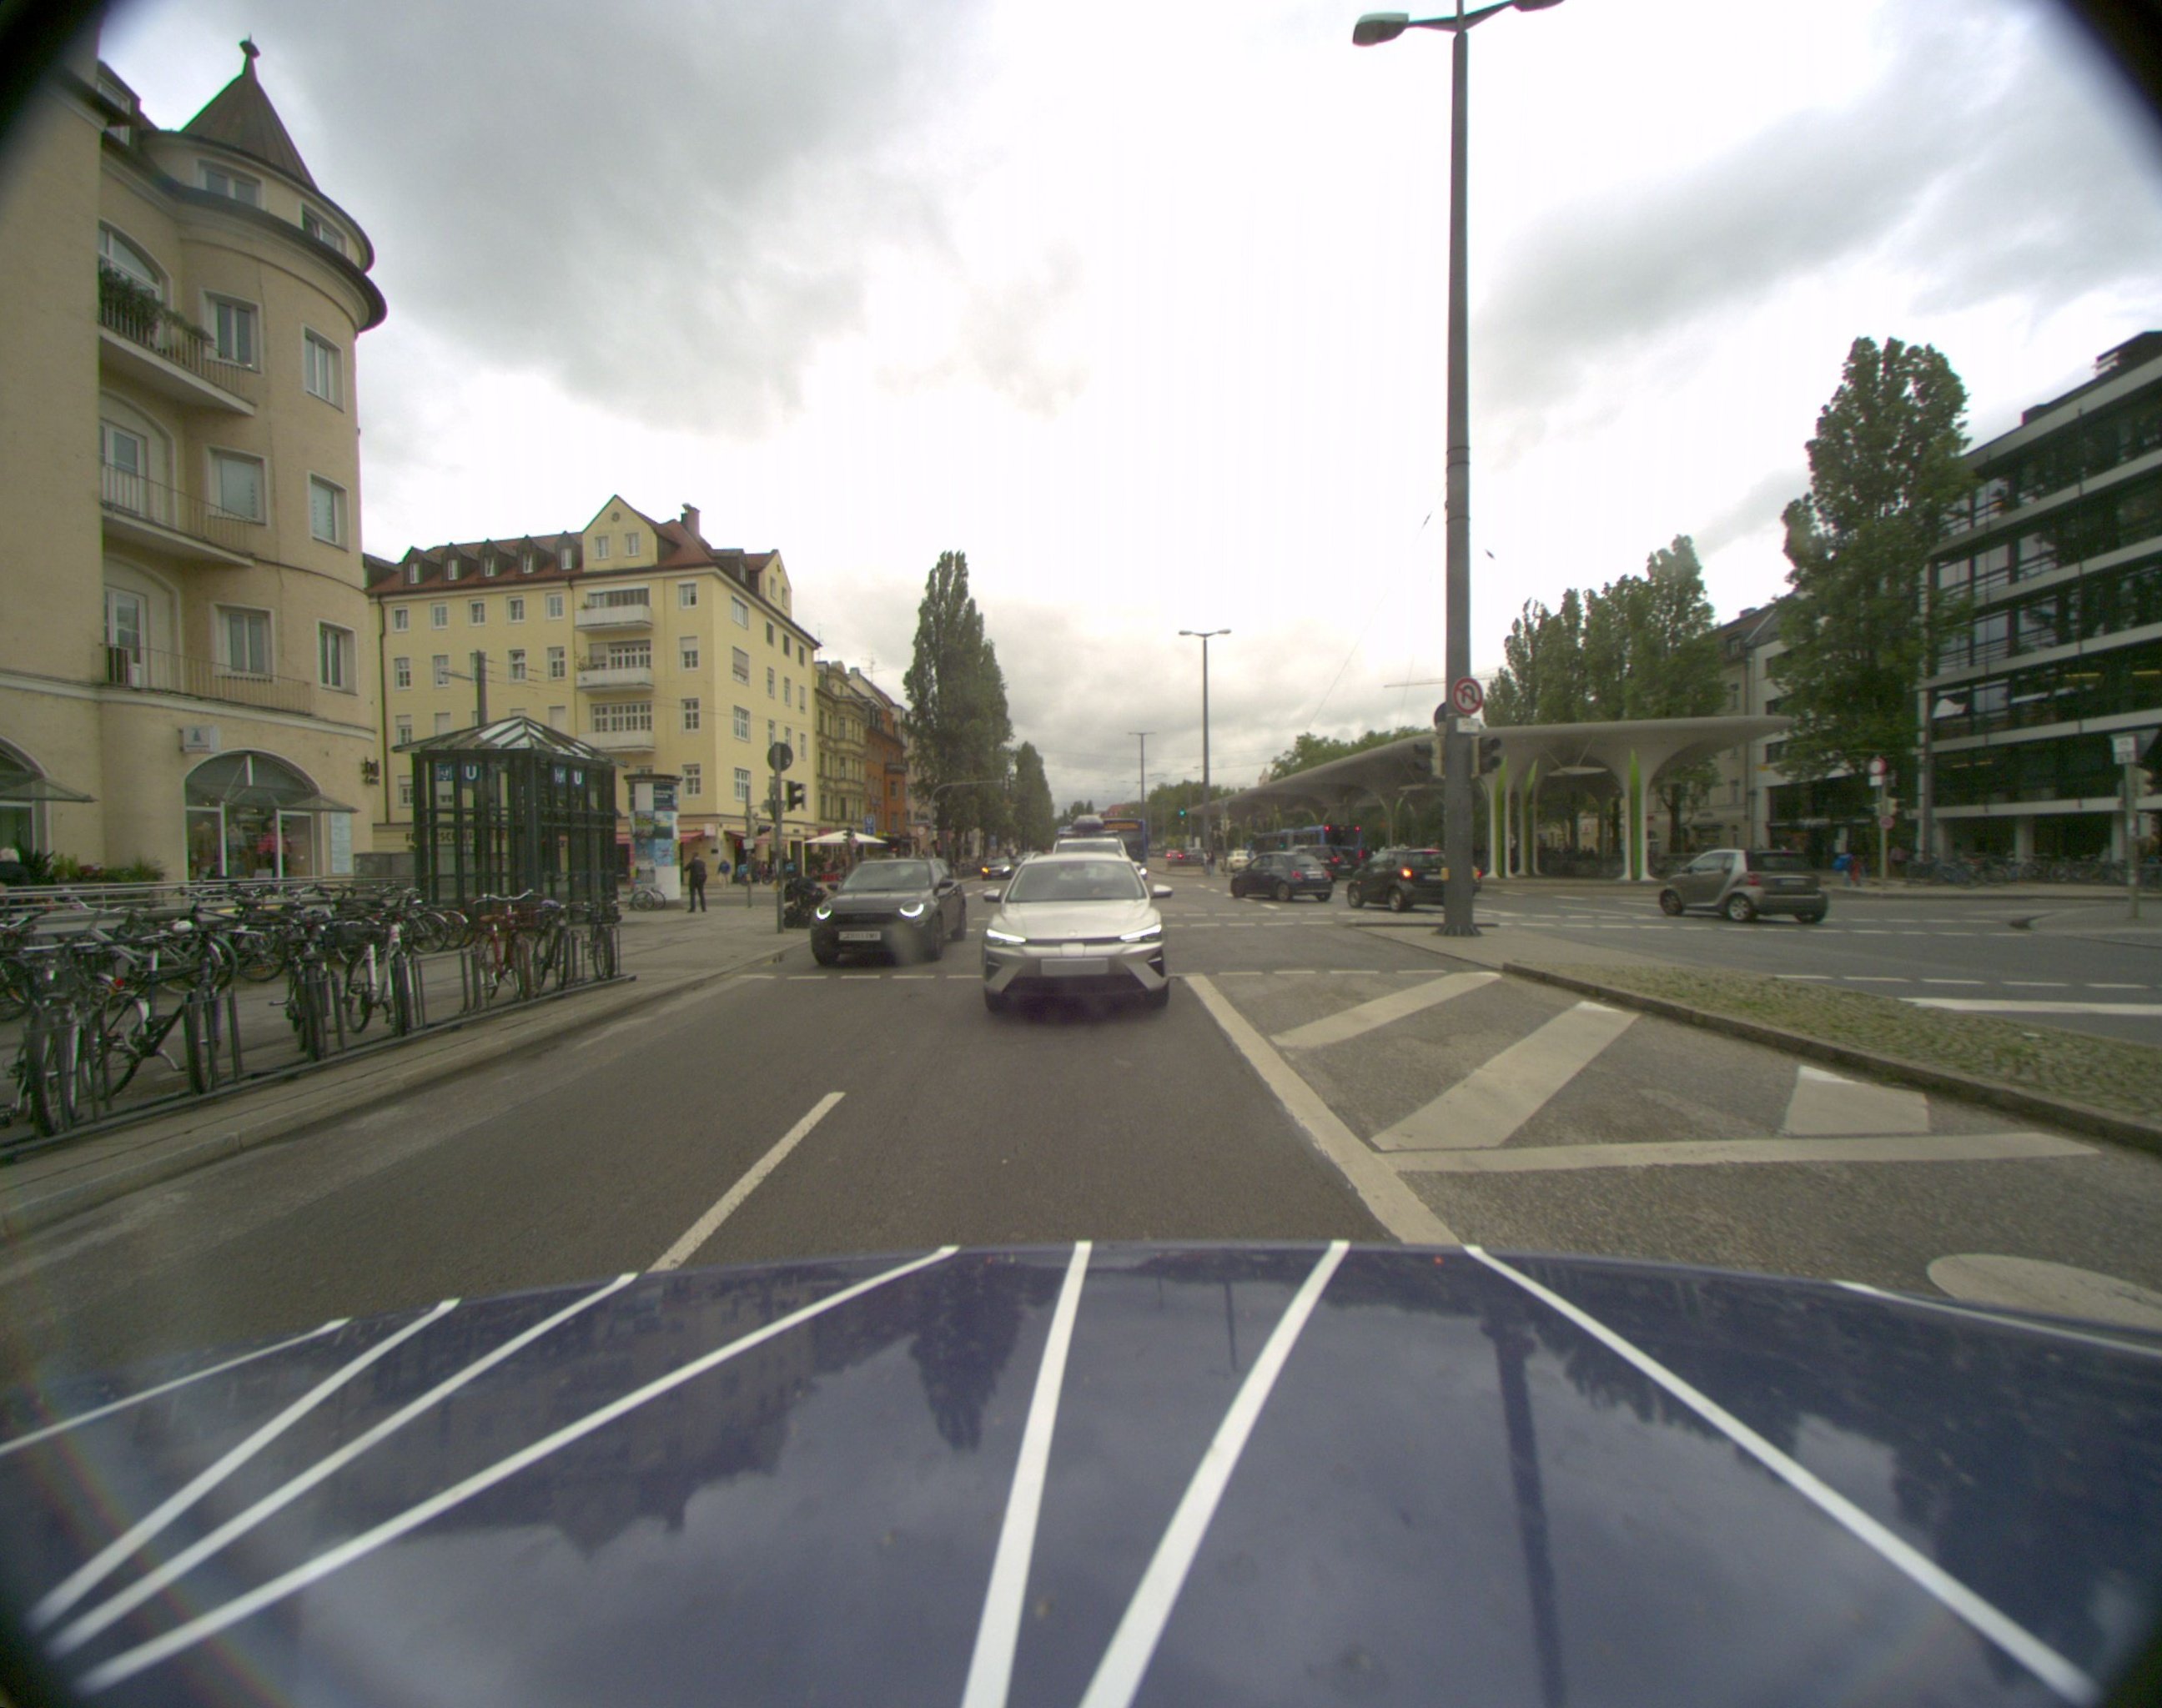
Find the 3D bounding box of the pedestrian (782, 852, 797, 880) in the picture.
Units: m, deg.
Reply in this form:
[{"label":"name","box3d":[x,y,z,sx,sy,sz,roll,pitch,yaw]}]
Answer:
[{"label":"pedestrian","box3d":[-18.044,0.736,46.992,0.686,1.657,0.621,-1,1,-43]}]

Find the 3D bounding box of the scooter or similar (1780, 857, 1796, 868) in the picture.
[{"label":"scooter or similar","box3d":[47.054,0.544,50.556,0.519,0.711,0.681,0,1,11]}]

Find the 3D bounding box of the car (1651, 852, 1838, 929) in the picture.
[{"label":"car","box3d":[14.222,0.726,16.492,1.674,1.506,2.747,0,0,0]}]

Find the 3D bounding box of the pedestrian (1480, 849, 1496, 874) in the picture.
[{"label":"pedestrian","box3d":[22.390,0.399,41.778,0.549,1.330,0.592,-1,1,0]}]

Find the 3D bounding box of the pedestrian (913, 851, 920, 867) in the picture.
[{"label":"pedestrian","box3d":[-17.565,0.530,81.176,0.552,1.675,0.585,-1,1,1]}]

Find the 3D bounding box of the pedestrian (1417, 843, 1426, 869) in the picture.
[{"label":"pedestrian","box3d":[19.359,0.113,43.162,0.335,1.493,0.317,-1,1,-9]}]

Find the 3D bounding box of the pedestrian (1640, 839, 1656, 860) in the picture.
[{"label":"pedestrian","box3d":[44.380,-0.348,59.476,0.906,1.689,0.833,-1,1,-37]}]

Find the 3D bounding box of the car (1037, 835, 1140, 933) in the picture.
[{"label":"car","box3d":[0.175,0.564,17.315,1.998,1.889,4.235,-2,1,1]}]

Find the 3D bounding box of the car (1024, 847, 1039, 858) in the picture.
[{"label":"car","box3d":[-7.512,-0.184,115.018,1.998,1.630,4.000,-1,0,1]}]

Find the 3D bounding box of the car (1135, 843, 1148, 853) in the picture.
[{"label":"car","box3d":[9.793,-0.918,123.244,1.847,1.529,3.999,-2,1,0]}]

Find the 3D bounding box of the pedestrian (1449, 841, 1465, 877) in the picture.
[{"label":"pedestrian","box3d":[19.565,0.239,39.509,0.666,1.840,0.789,0,1,20]}]

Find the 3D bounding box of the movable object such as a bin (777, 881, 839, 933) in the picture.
[{"label":"movable object such as a bin","box3d":[-5.948,1.136,16.597,1.089,1.056,0.747,1,1,-2]}]

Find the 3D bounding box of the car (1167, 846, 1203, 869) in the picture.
[{"label":"car","box3d":[7.073,0.211,52.010,1.922,1.461,3.999,-2,1,1]}]

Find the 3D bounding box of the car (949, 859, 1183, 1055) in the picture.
[{"label":"car","box3d":[-0.076,0.878,8.350,1.896,1.483,3.999,-2,1,1]}]

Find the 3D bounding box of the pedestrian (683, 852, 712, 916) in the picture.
[{"label":"pedestrian","box3d":[-10.913,0.840,21.637,0.641,1.767,0.609,-2,1,-23]}]

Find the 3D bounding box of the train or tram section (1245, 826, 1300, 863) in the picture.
[{"label":"train or tram section","box3d":[16.356,-0.833,65.430,2.840,2.983,7.406,-1,0,0]}]

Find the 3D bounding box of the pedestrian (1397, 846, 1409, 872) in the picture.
[{"label":"pedestrian","box3d":[18.491,0.283,43.616,0.490,1.493,0.425,-1,1,-41]}]

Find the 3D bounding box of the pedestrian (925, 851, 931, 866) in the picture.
[{"label":"pedestrian","box3d":[-16.563,0.471,82.305,0.552,1.675,0.585,-1,1,1]}]

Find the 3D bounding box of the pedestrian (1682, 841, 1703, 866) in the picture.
[{"label":"pedestrian","box3d":[44.372,-0.049,55.155,0.984,1.762,0.951,-1,1,-36]}]

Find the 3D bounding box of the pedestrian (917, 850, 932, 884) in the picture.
[{"label":"pedestrian","box3d":[-8.332,0.675,40.513,0.732,1.792,0.710,-1,3,-9]}]

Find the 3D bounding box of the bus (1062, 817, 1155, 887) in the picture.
[{"label":"bus","box3d":[1.048,-0.177,38.089,2.943,2.927,11.205,-2,1,-7]}]

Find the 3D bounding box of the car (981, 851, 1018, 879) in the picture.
[{"label":"car","box3d":[-5.183,0.662,49.039,1.854,1.615,3.999,-2,1,1]}]

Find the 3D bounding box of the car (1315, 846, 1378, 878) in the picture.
[{"label":"car","box3d":[13.786,0.371,39.738,1.932,1.576,4.000,-1,0,1]}]

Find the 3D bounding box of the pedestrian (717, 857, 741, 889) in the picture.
[{"label":"pedestrian","box3d":[-17.907,0.943,38.660,0.714,1.558,0.832,-2,1,1]}]

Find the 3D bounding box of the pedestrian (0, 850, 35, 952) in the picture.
[{"label":"pedestrian","box3d":[-18.620,0.801,12.942,0.618,1.729,0.644,0,2,-1]}]

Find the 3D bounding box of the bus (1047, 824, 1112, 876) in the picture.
[{"label":"bus","box3d":[-0.344,-0.327,49.820,2.943,2.927,11.205,-2,1,-7]}]

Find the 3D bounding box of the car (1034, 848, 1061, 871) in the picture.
[{"label":"car","box3d":[-2.730,0.415,62.844,1.998,1.740,3.999,-2,1,1]}]

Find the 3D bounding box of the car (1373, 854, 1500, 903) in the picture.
[{"label":"car","box3d":[11.463,0.715,24.892,1.998,1.408,4.615,-1,0,0]}]

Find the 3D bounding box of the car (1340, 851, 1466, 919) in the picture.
[{"label":"car","box3d":[7.865,0.693,18.788,1.562,1.498,2.785,-1,1,-13]}]

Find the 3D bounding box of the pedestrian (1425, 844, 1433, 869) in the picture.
[{"label":"pedestrian","box3d":[19.538,0.132,42.673,0.303,1.369,0.270,0,1,-2]}]

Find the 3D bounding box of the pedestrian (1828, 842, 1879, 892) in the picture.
[{"label":"pedestrian","box3d":[28.113,0.462,27.674,0.861,1.767,0.980,-1,1,1]}]

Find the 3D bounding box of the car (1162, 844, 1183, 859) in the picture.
[{"label":"car","box3d":[10.353,-0.311,85.977,1.847,1.529,3.999,-2,1,0]}]

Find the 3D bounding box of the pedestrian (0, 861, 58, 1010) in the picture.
[{"label":"pedestrian","box3d":[-12.727,0.938,8.743,0.809,1.682,0.755,-1,1,-13]}]

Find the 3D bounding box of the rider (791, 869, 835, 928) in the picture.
[{"label":"rider","box3d":[-5.849,0.957,16.614,0.732,1.234,0.732,1,2,-2]}]

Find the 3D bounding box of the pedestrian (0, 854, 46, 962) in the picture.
[{"label":"pedestrian","box3d":[-17.349,0.851,12.191,0.566,1.691,0.590,0,2,-1]}]

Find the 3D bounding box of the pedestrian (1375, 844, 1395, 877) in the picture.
[{"label":"pedestrian","box3d":[15.893,0.329,39.738,0.711,1.738,0.788,0,1,0]}]

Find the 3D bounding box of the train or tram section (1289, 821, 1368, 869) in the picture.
[{"label":"train or tram section","box3d":[16.302,-0.575,50.627,2.840,2.983,7.406,-1,0,0]}]

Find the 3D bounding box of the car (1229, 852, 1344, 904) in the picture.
[{"label":"car","box3d":[6.223,0.691,23.384,1.630,1.471,3.381,0,0,-24]}]

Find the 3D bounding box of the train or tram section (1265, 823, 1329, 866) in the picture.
[{"label":"train or tram section","box3d":[16.349,-0.703,58.022,2.840,2.983,7.406,-1,0,0]}]

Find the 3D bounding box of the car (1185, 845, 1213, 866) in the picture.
[{"label":"car","box3d":[10.140,0.075,65.411,1.847,1.674,3.999,-2,1,1]}]

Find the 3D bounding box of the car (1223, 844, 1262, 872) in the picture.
[{"label":"car","box3d":[10.498,0.215,49.666,1.760,1.674,3.999,-2,1,1]}]

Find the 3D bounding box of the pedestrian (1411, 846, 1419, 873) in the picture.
[{"label":"pedestrian","box3d":[18.997,0.314,43.208,0.320,1.493,0.317,-1,1,-9]}]

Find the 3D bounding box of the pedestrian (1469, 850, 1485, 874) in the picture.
[{"label":"pedestrian","box3d":[21.719,0.426,41.665,0.549,1.330,0.592,-1,1,0]}]

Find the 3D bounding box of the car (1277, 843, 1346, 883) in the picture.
[{"label":"car","box3d":[10.856,0.366,36.127,1.998,1.762,4.306,1,1,1]}]

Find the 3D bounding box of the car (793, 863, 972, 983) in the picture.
[{"label":"car","box3d":[-2.909,0.934,12.064,1.740,1.462,4.050,-1,0,0]}]
